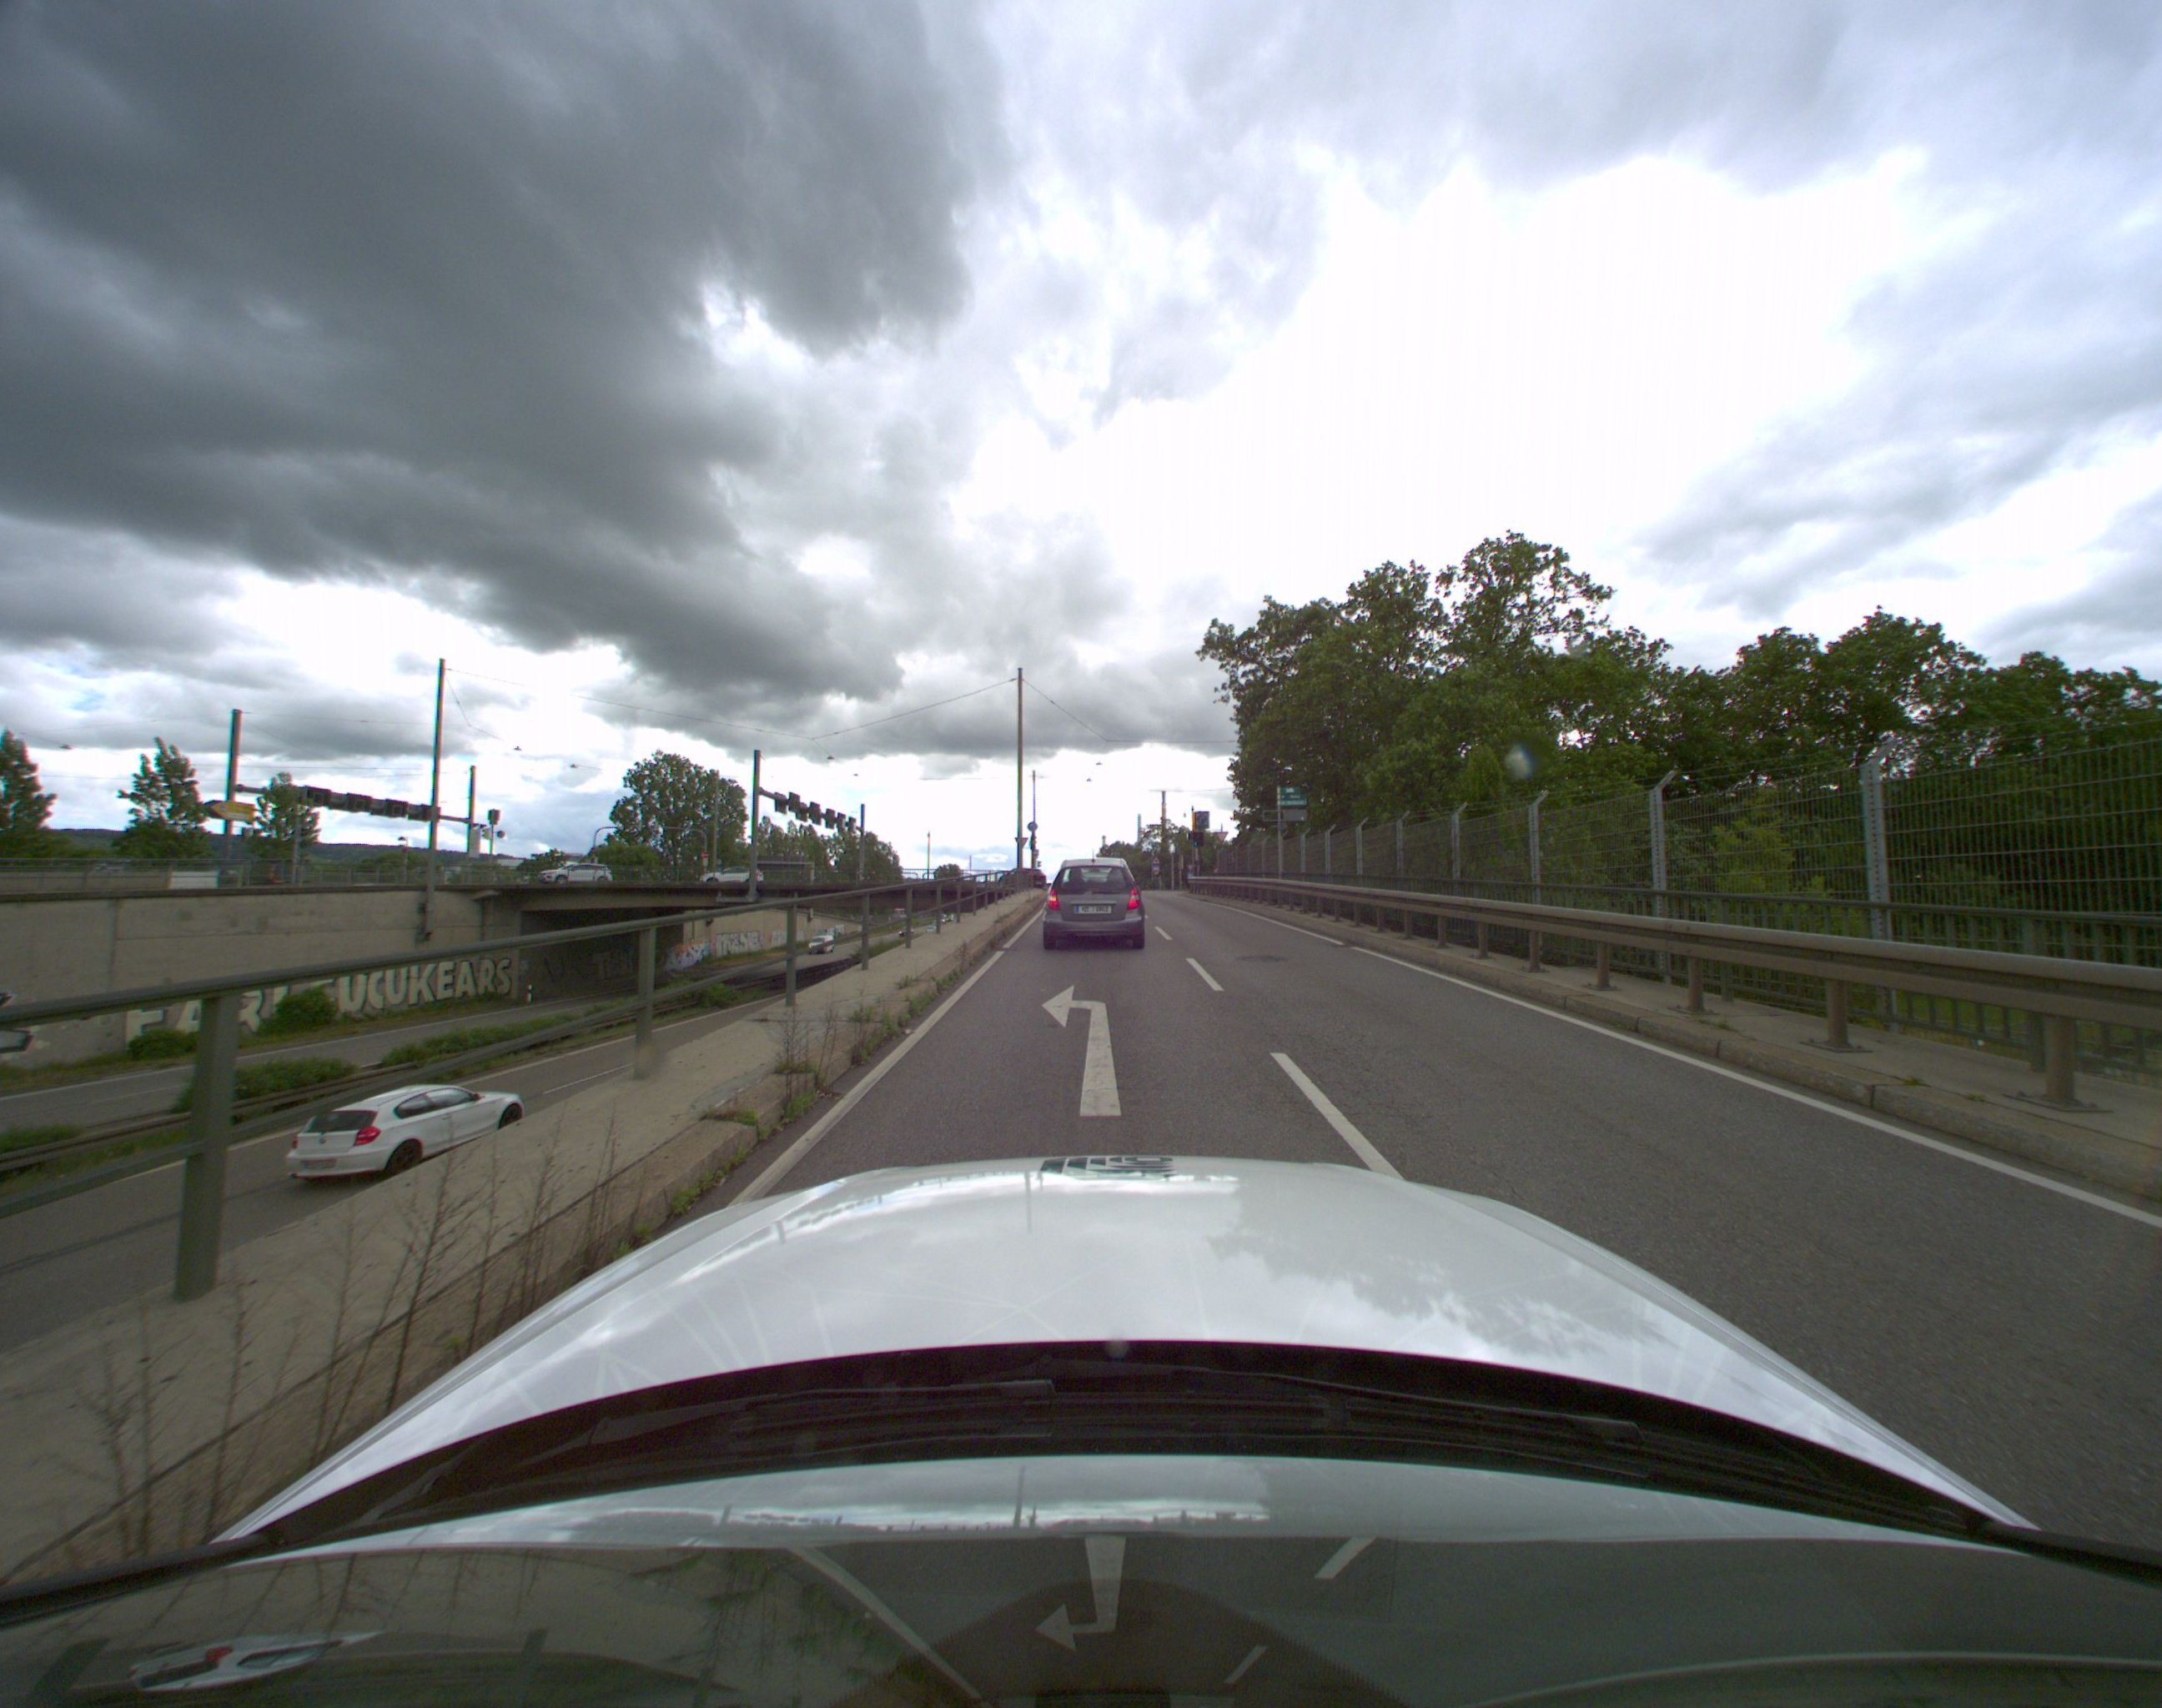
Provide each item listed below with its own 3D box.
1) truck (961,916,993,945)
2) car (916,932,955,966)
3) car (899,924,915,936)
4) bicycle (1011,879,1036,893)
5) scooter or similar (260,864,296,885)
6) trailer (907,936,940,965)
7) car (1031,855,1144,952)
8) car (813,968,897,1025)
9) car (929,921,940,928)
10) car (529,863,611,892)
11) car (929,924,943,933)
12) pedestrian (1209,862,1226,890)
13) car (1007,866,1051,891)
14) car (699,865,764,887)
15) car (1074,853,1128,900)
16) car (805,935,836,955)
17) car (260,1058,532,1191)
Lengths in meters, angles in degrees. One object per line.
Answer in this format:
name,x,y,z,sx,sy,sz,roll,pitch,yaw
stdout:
truck,-12.939,9.459,101.575,2.736,3.294,7.442,-1,-4,2
car,-12.405,8.032,69.726,1.986,2.685,5.933,0,-5,2
car,-29.546,12.885,138.364,1.910,1.739,4.549,-1,-4,-1
bicycle,-5.021,2.801,71.187,2.033,1.124,0.926,0,-1,-12
scooter or similar,-42.089,1.085,42.692,0.542,1.094,1.414,-1,-3,-4
trailer,-12.528,7.673,64.894,1.722,2.130,3.936,0,-5,2
car,0.186,0.835,15.435,1.850,1.588,4.002,0,-1,2
car,-9.516,5.987,34.799,1.986,1.877,5.199,-1,-4,2
car,-33.203,15.996,184.642,1.910,1.643,4.159,0,-5,-2
car,-34.433,1.564,54.931,1.974,1.870,4.240,-1,-1,35
car,-26.157,13.485,147.149,1.723,1.528,4.084,0,-4,0
pedestrian,8.457,1.368,50.536,0.831,1.678,0.978,-1,-4,-3
car,-3.827,1.763,59.280,1.940,1.717,3.967,0,-1,-24
car,-26.001,1.620,60.680,4.350,1.576,1.825,0,-1,-23
car,0.726,0.877,32.613,1.926,1.717,4.403,0,-1,-1
car,-29.966,10.407,93.776,1.988,2.067,5.172,0,-4,-2
car,-13.193,5.178,16.107,1.736,1.452,4.166,-1,-4,1
